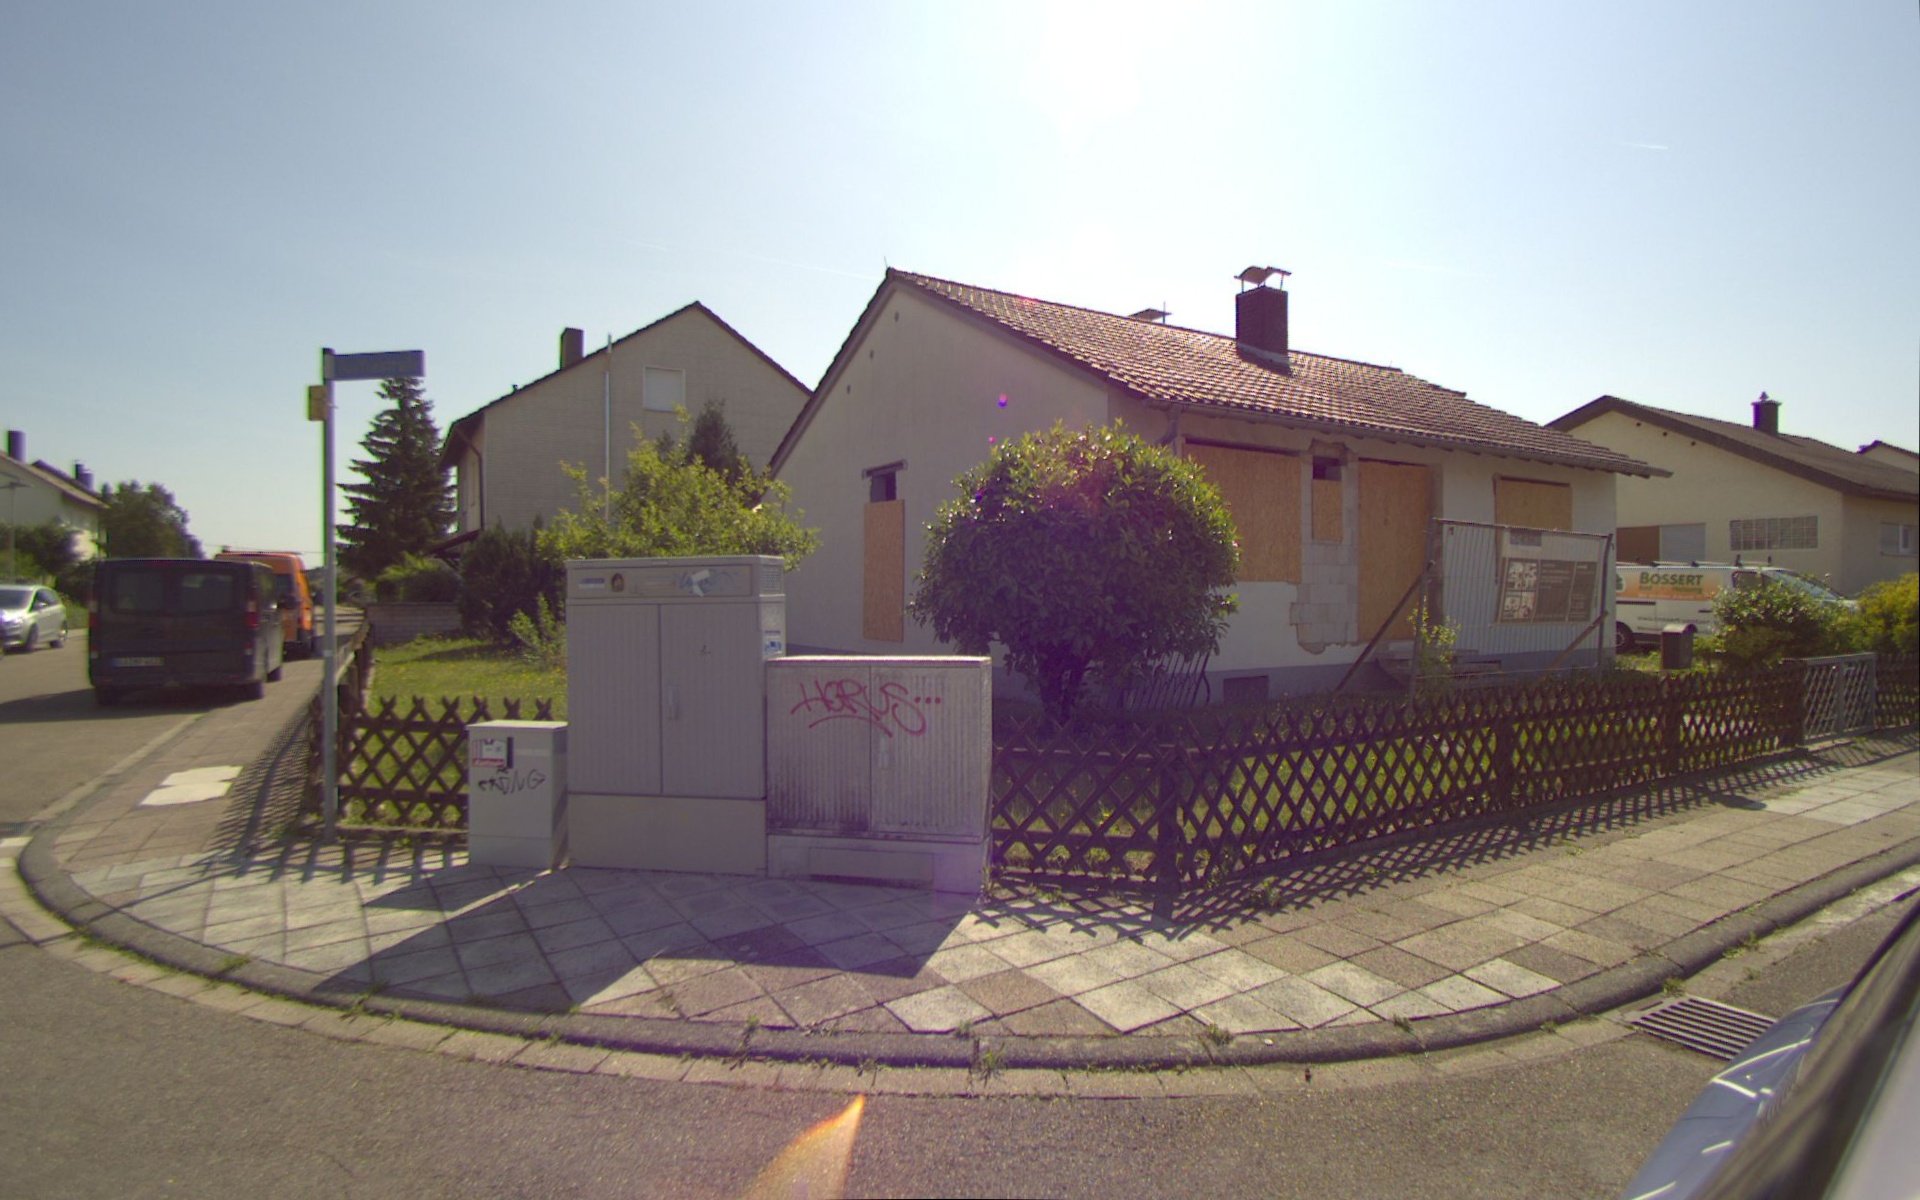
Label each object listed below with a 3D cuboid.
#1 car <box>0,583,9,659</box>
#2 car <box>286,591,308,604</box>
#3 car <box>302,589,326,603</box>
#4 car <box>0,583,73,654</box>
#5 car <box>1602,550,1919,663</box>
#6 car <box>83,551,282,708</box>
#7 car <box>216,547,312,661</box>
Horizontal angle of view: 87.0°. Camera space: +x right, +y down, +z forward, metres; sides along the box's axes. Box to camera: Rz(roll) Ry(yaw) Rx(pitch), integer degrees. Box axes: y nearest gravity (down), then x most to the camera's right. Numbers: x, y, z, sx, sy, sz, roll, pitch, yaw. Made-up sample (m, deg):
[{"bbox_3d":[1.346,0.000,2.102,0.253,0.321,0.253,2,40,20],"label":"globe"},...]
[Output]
[{"bbox_3d":[-20.928,0.470,20.396,1.600,1.646,4.005,-1,0,-29],"label":"car"},{"bbox_3d":[-73.736,-0.252,112.537,1.679,1.357,3.996,-1,0,-38],"label":"car"},{"bbox_3d":[-65.610,-0.415,102.689,1.679,1.357,3.996,-1,0,-38],"label":"car"},{"bbox_3d":[-23.745,0.434,25.227,1.600,1.646,4.005,-1,0,-29],"label":"car"},{"bbox_3d":[16.315,0.069,20.779,1.830,2.039,5.018,0,1,-30],"label":"car"},{"bbox_3d":[-11.226,0.332,14.904,1.834,1.962,4.208,-1,1,-31],"label":"car"},{"bbox_3d":[-15.760,0.058,23.072,1.525,2.353,4.208,-1,1,-31],"label":"car"}]
